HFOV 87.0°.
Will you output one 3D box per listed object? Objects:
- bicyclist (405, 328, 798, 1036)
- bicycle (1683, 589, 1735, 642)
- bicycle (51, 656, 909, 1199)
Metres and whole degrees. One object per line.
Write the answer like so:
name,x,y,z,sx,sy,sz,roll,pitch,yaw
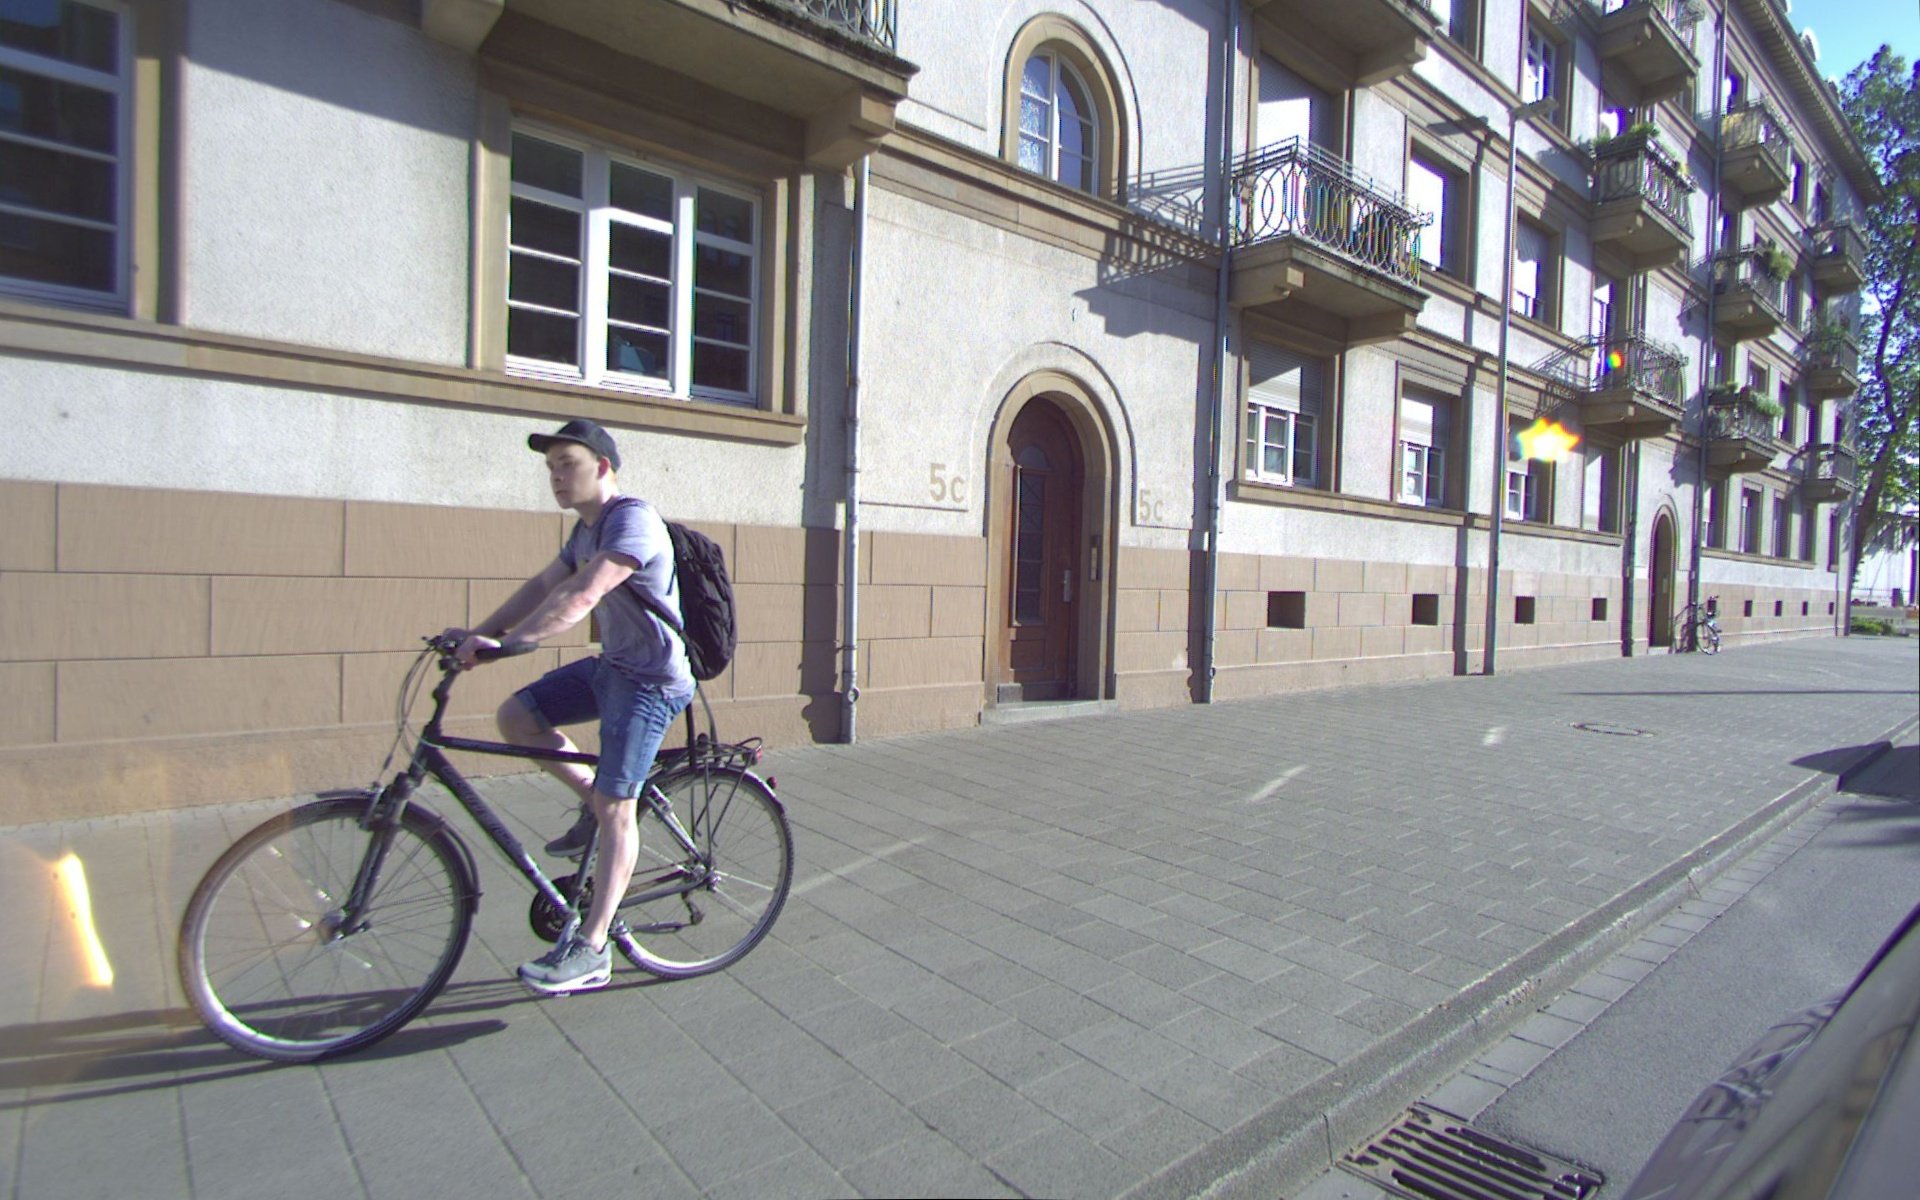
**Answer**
bicyclist,-1.107,0.196,3.132,0.921,1.785,0.734,0,2,-41
bicycle,16.551,0.323,22.348,2.159,1.109,0.419,0,2,-41
bicycle,-1.242,0.723,3.014,2.160,0.965,0.769,0,2,-41
